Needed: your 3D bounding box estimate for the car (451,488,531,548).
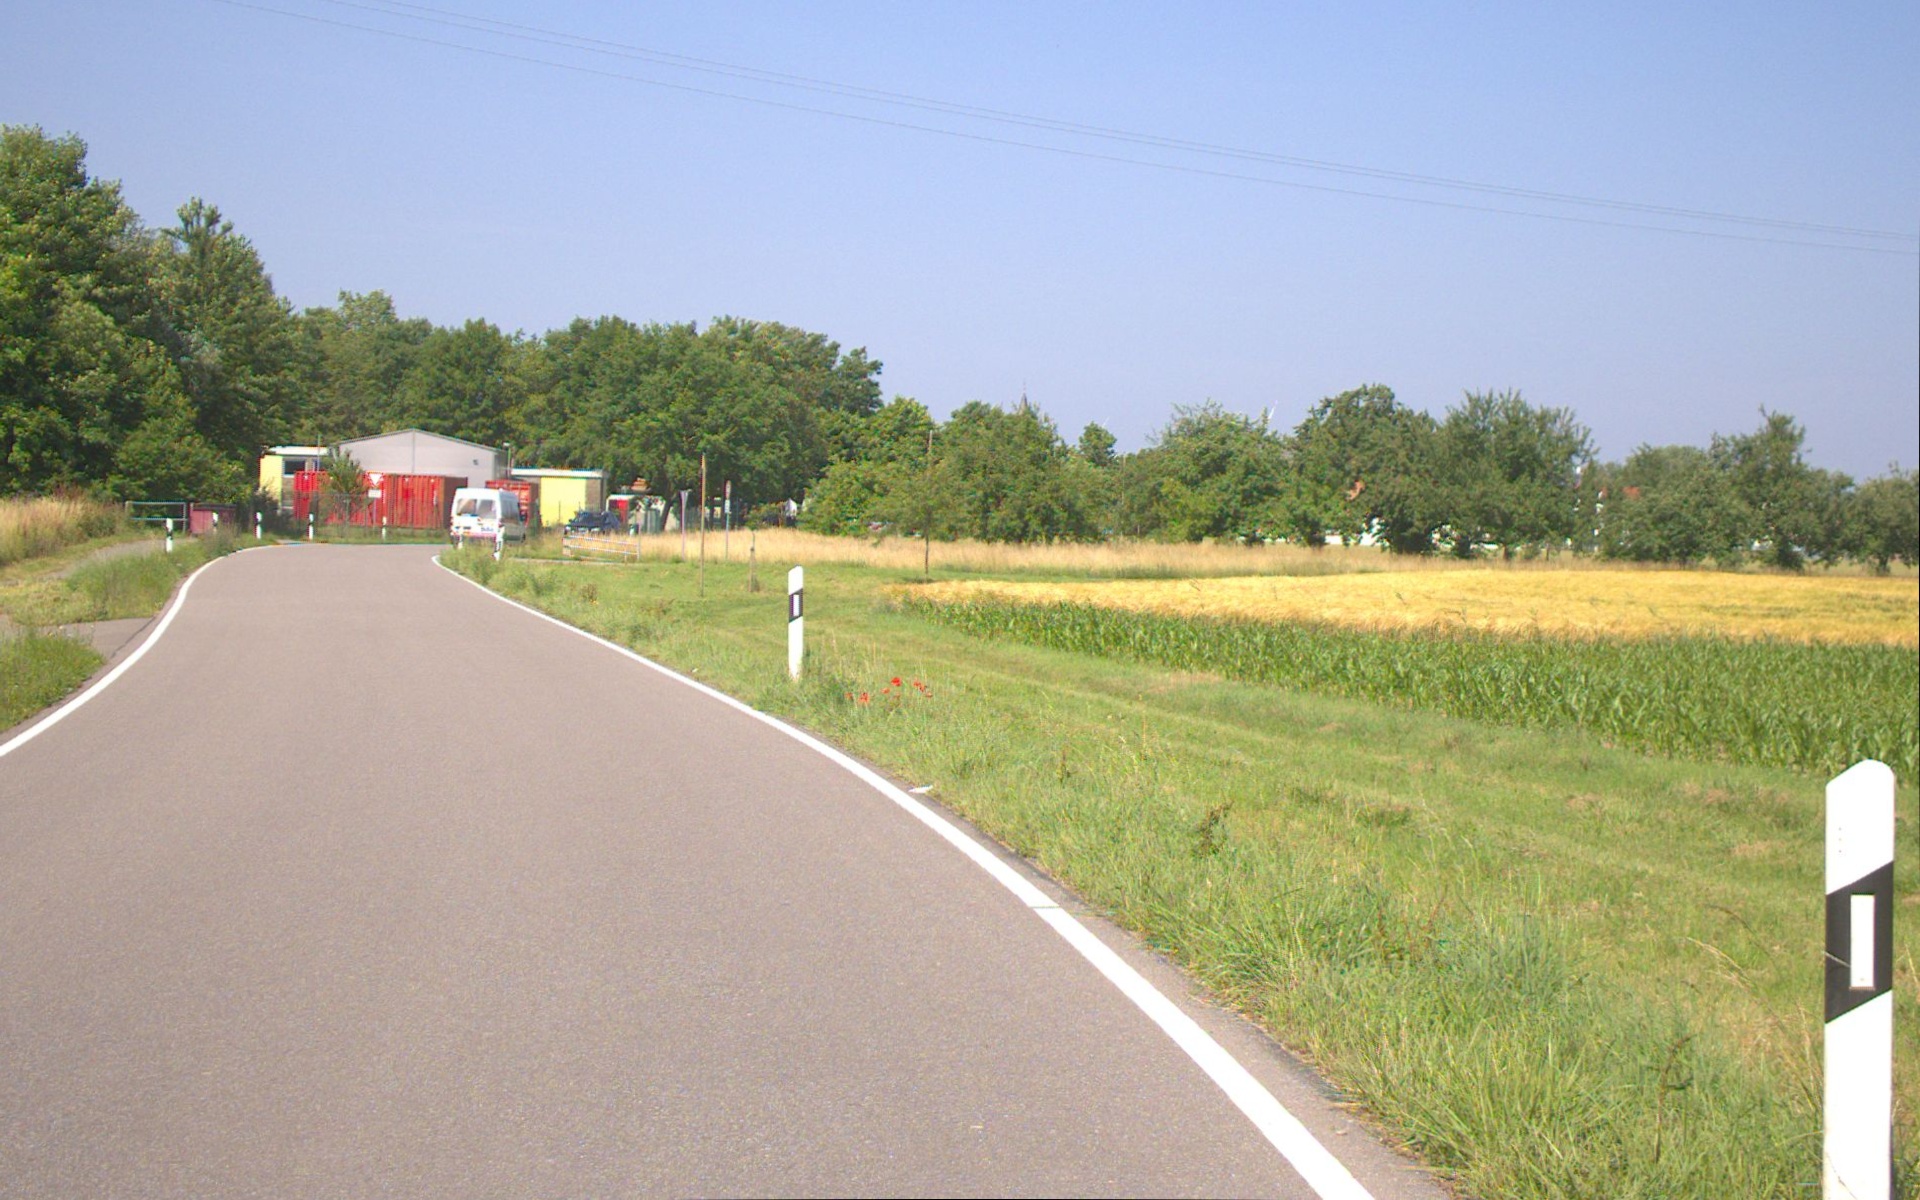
[{"bbox_3d":[-18.354,-3.195,134.702,1.994,2.258,4.725,2,1,6],"label":"car"}]
